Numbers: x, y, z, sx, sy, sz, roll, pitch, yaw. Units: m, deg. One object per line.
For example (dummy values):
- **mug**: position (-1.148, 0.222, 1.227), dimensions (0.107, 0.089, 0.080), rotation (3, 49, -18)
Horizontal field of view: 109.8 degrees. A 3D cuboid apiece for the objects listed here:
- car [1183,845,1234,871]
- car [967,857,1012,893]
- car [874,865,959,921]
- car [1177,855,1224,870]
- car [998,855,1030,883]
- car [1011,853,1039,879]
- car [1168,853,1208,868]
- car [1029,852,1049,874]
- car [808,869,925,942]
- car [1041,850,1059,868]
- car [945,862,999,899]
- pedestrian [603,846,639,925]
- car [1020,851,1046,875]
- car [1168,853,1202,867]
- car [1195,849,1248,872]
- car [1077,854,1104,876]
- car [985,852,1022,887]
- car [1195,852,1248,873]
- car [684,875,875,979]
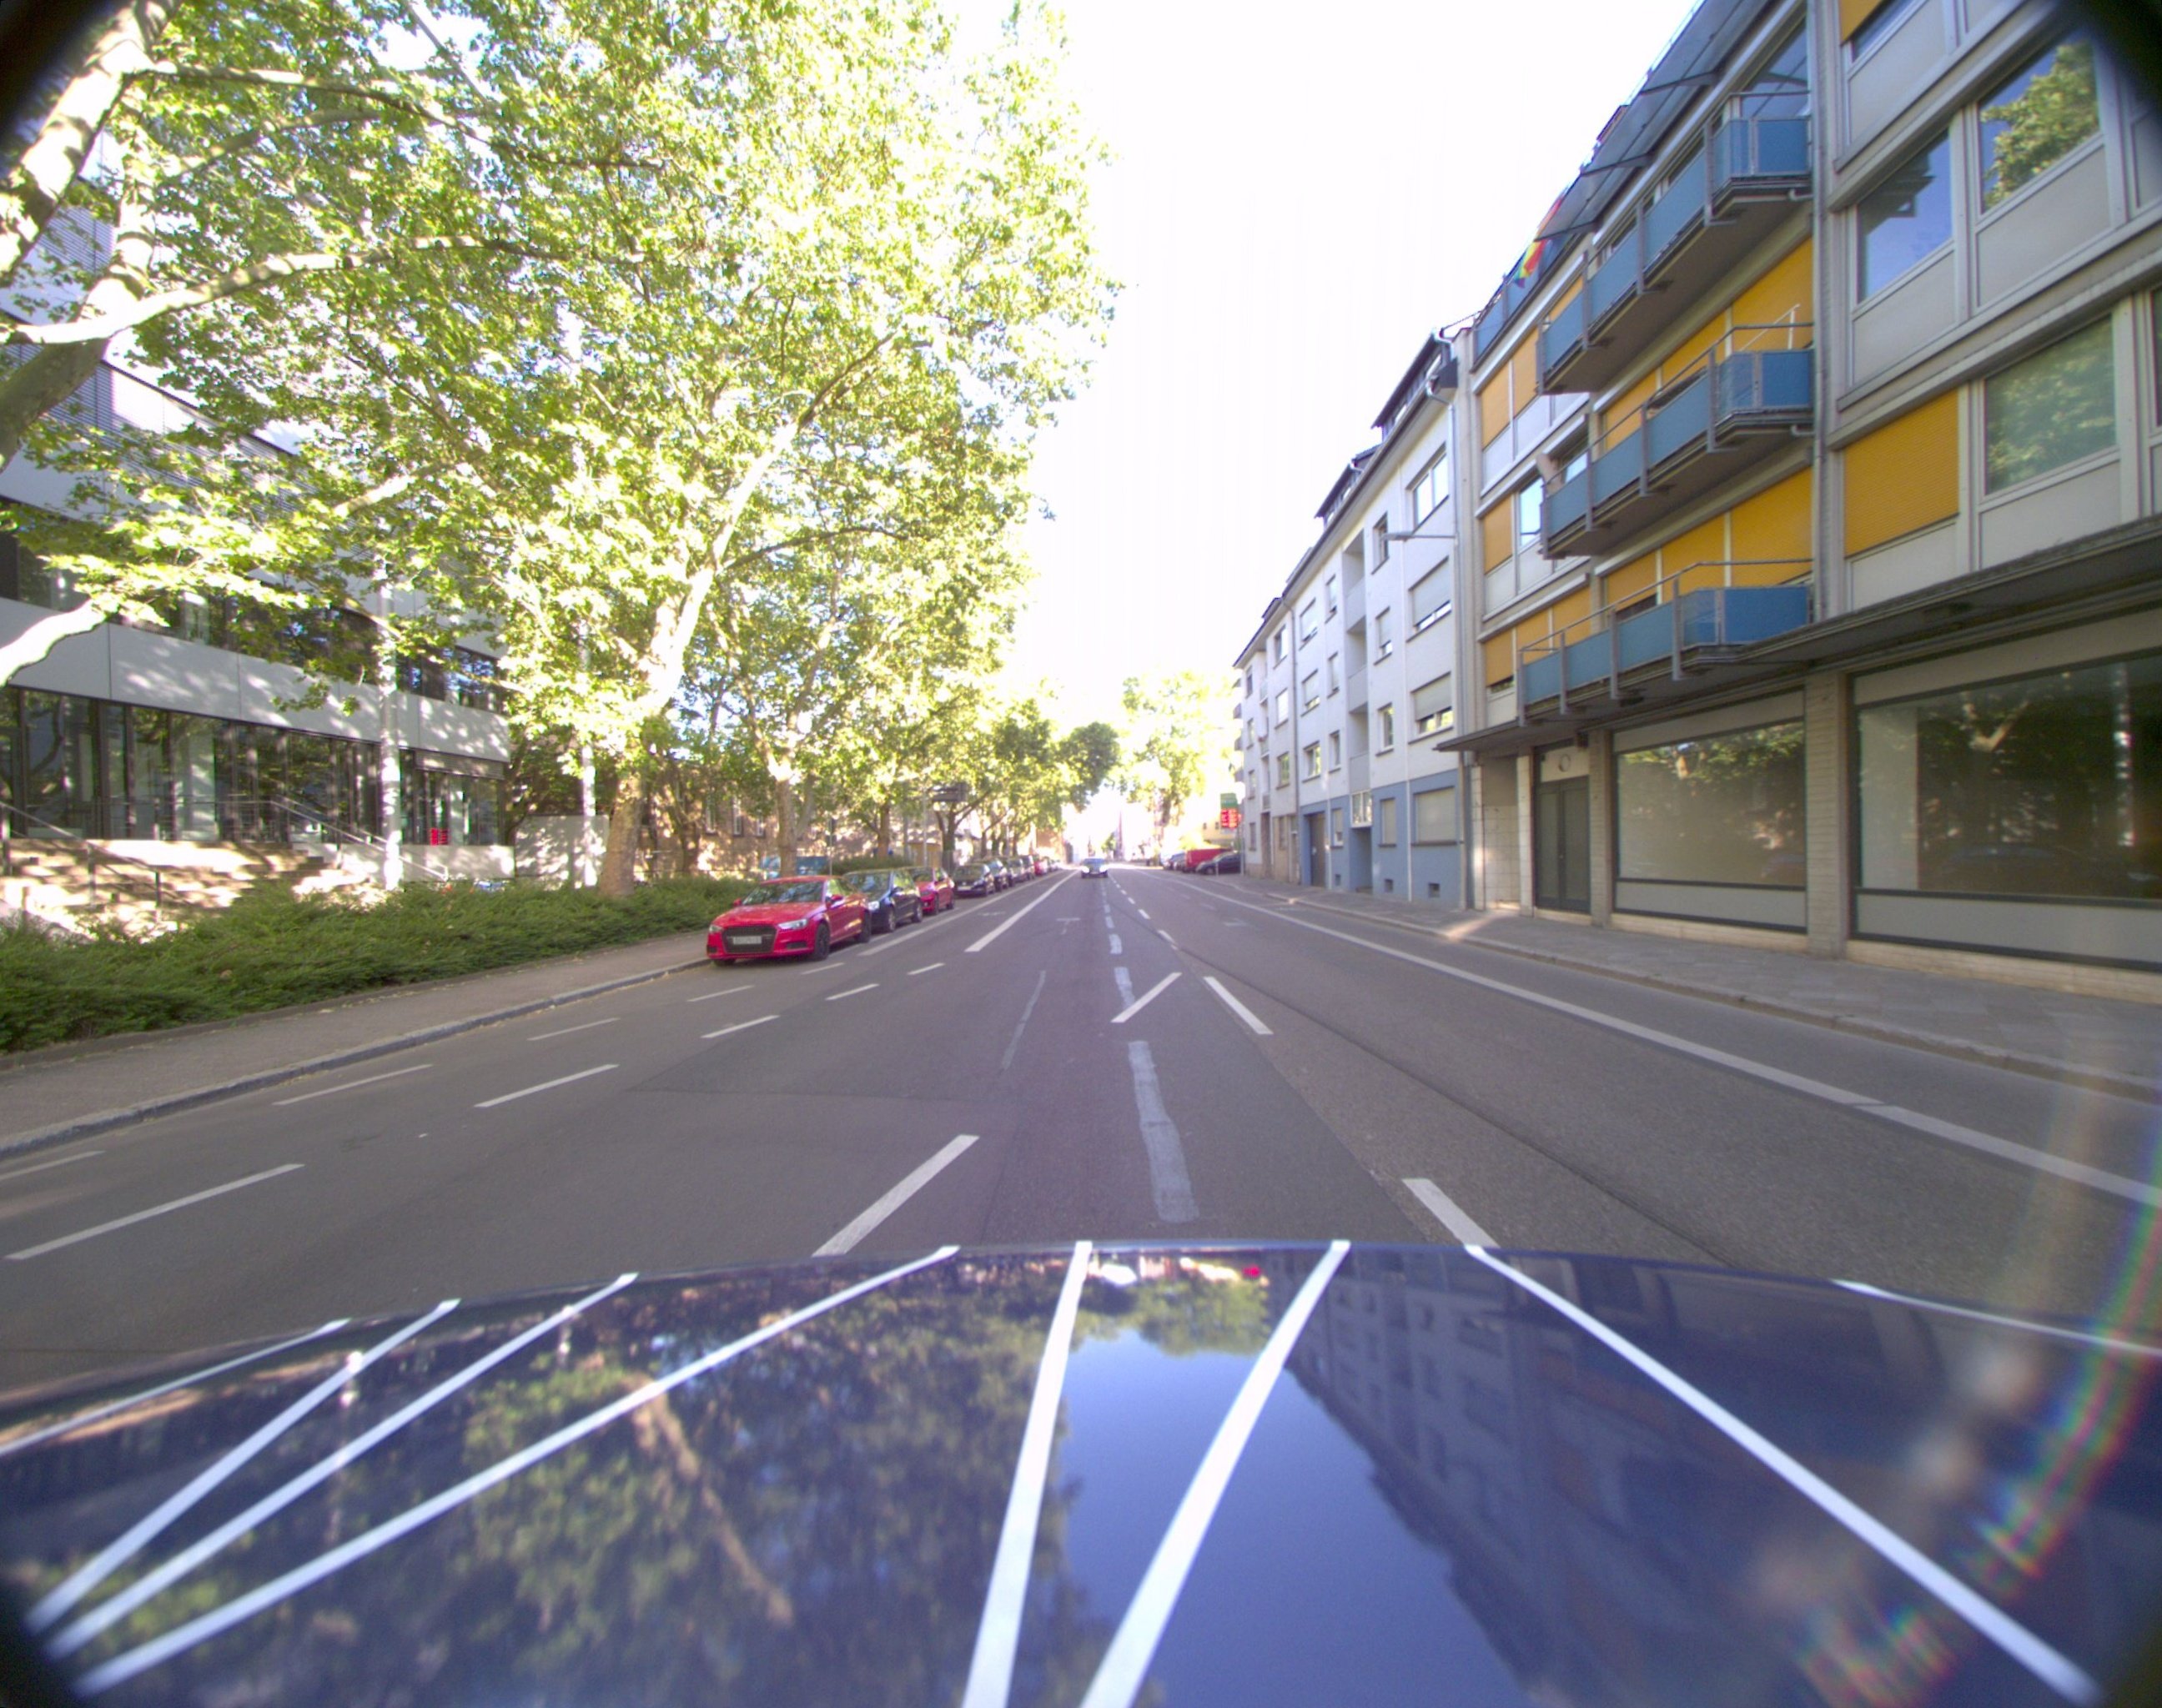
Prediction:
- **car**: position (10.054, 0.321, 59.944), dimensions (3.688, 1.897, 1.490), rotation (-2, -1, -1)
- **car**: position (-4.524, 0.992, 38.108), dimensions (1.634, 1.569, 4.231), rotation (-2, 1, 0)
- **car**: position (-5.018, 1.133, 23.686), dimensions (1.692, 1.441, 3.923), rotation (-2, 1, 1)
- **car**: position (9.806, 0.694, 62.590), dimensions (3.687, 1.122, 1.345), rotation (-2, 1, 2)
- **car**: position (-4.359, 0.940, 50.113), dimensions (1.634, 1.604, 4.576), rotation (-2, 1, 0)
- **car**: position (-4.044, 0.815, 55.240), dimensions (1.634, 1.725, 3.769), rotation (-2, 1, 0)
- **car**: position (10.261, 0.628, 73.031), dimensions (3.687, 1.238, 1.345), rotation (-2, 1, 2)
- **car**: position (-3.910, 0.807, 71.004), dimensions (1.599, 1.835, 3.769), rotation (-2, 1, 0)
- **car**: position (-5.055, 1.162, 18.412), dimensions (1.669, 1.410, 3.697), rotation (-2, 1, 1)
- **car**: position (-3.761, 0.583, 92.583), dimensions (1.998, 2.002, 4.000), rotation (-2, 0, 1)
- **car**: position (-4.699, 1.112, 33.237), dimensions (1.692, 1.414, 3.923), rotation (-2, 1, 0)
- **pedestrian**: position (-11.955, 0.795, 19.752), dimensions (0.552, 2.002, 0.562), rotation (-2, 1, -11)
- **car**: position (-4.177, 0.723, 66.093), dimensions (1.915, 1.940, 3.769), rotation (-2, 1, 0)
- **car**: position (10.316, 0.583, 75.469), dimensions (3.271, 1.238, 1.345), rotation (-2, 1, 2)
- **car**: position (10.528, 0.485, 57.099), dimensions (3.687, 1.503, 1.490), rotation (-2, 1, 2)
- **car**: position (0.665, 0.749, 54.462), dimensions (1.752, 1.423, 4.265), rotation (-2, 0, 0)
- **car**: position (-4.461, 0.854, 44.241), dimensions (1.634, 1.781, 4.576), rotation (-2, 1, 0)
- **car**: position (10.085, 0.590, 54.731), dimensions (3.508, 1.380, 1.490), rotation (-2, 1, 2)
- **car**: position (-5.166, 1.180, 13.659), dimensions (1.794, 1.384, 3.999), rotation (-2, 1, 0)
